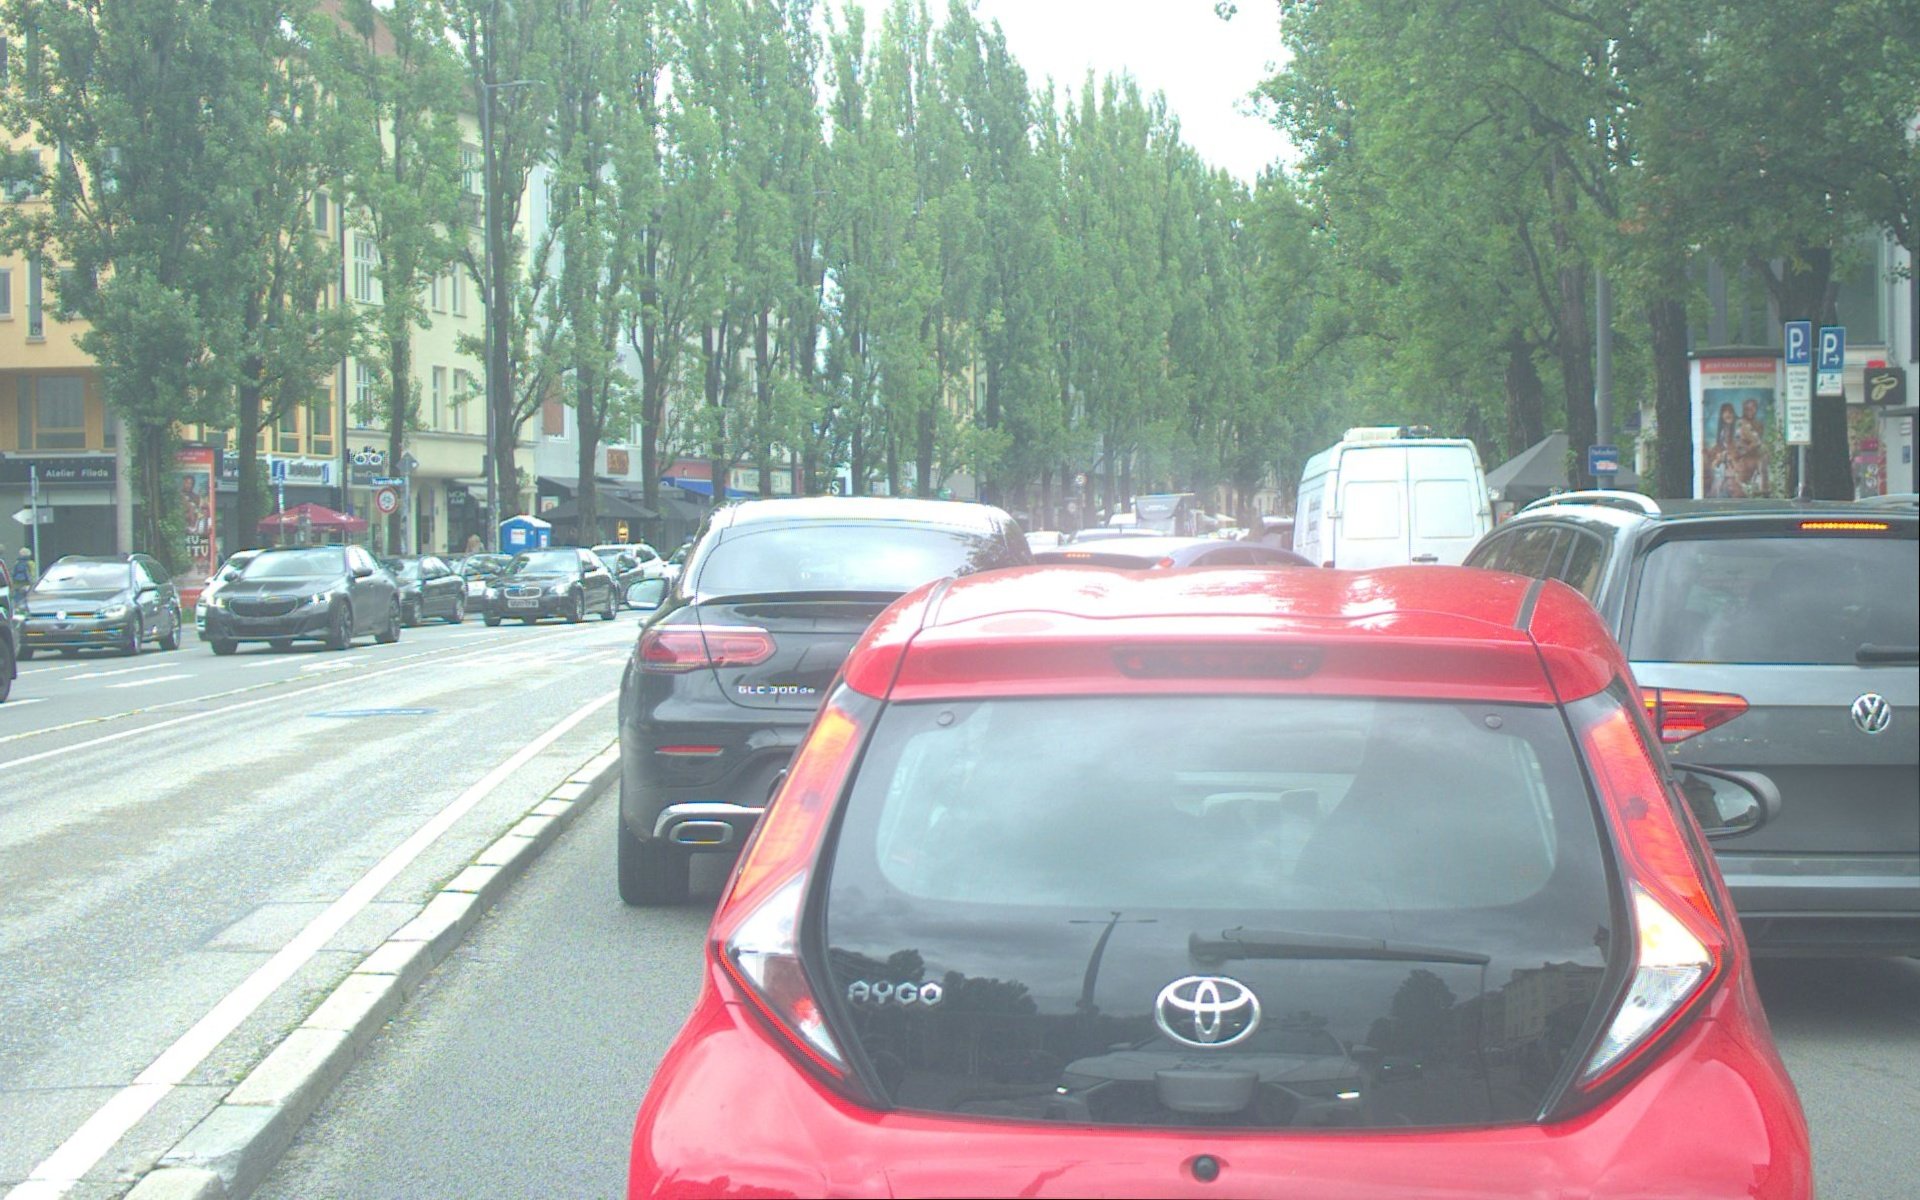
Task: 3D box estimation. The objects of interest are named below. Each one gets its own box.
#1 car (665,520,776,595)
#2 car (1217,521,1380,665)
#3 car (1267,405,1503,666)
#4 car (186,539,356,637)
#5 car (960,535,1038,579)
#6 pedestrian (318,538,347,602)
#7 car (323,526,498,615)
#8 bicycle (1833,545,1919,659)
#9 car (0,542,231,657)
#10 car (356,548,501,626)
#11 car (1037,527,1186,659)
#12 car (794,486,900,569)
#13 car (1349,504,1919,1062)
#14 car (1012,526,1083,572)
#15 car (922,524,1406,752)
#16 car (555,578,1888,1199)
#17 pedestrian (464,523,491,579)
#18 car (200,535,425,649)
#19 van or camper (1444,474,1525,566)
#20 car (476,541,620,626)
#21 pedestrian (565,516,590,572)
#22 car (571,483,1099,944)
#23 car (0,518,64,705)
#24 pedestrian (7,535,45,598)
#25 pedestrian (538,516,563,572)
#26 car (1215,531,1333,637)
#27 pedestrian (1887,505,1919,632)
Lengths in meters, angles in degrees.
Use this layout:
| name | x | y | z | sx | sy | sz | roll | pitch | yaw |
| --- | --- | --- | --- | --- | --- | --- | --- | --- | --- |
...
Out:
| name | x | y | z | sx | sy | sz | roll | pitch | yaw |
| --- | --- | --- | --- | --- | --- | --- | --- | --- | --- |
| car | -5.512 | -1.006 | 79.724 | 1.994 | 1.615 | 4.413 | -2 | 1 | 3 |
| car | 4.453 | -0.132 | 45.830 | 1.929 | 1.799 | 4.779 | 1 | 1 | 3 |
| car | 4.737 | -0.708 | 39.097 | 1.993 | 2.732 | 5.555 | 1 | 1 | 0 |
| car | -11.963 | -0.240 | 59.943 | 1.993 | 1.594 | 4.289 | -1 | 1 | 1 |
| car | 1.342 | -1.470 | 115.789 | 1.800 | 1.389 | 4.688 | -1 | 1 | 11 |
| pedestrian | -17.254 | -0.826 | 94.541 | 0.539 | 1.741 | 0.755 | 0 | 1 | 11 |
| car | -11.562 | -0.624 | 72.605 | 1.758 | 1.809 | 3.995 | 1 | 1 | 23 |
| bicycle | 9.834 | 0.015 | 35.337 | 1.629 | 1.156 | 0.705 | 0 | 1 | 12 |
| car | -12.338 | -0.045 | 50.329 | 1.959 | 1.541 | 4.947 | -1 | 1 | 4 |
| car | -10.411 | -0.279 | 67.608 | 1.729 | 1.404 | 4.687 | -1 | 1 | 5 |
| car | 1.909 | -0.105 | 44.240 | 1.759 | 1.614 | 3.747 | 1 | 1 | 1 |
| car | -3.633 | -2.364 | 111.945 | 2.171 | 2.596 | 6.062 | -1 | 1 | 10 |
| car | 2.532 | 0.490 | 12.017 | 1.761 | 1.608 | 4.184 | 0 | 1 | -1 |
| car | 3.187 | -1.873 | 124.472 | 1.910 | 1.597 | 4.353 | -1 | 1 | 10 |
| car | 1.468 | 0.234 | 23.824 | 1.548 | 1.455 | 3.425 | 1 | 1 | 42 |
| car | 0.487 | 0.696 | 6.122 | 1.665 | 1.441 | 3.595 | 1 | 1 | 6 |
| pedestrian | -14.919 | -1.516 | 106.347 | 0.638 | 1.694 | 0.647 | -1 | 1 | 11 |
| car | -9.234 | -0.154 | 49.436 | 1.994 | 1.502 | 5.021 | -1 | 1 | 3 |
| van or camper | 18.322 | -2.789 | 119.922 | 2.461 | 3.101 | 4.713 | -1 | 1 | 12 |
| car | -7.798 | -0.341 | 65.504 | 1.836 | 1.482 | 4.734 | -1 | 1 | 4 |
| pedestrian | -12.881 | -1.883 | 115.844 | 0.638 | 1.855 | 0.647 | -1 | 1 | 11 |
| car | -0.478 | 0.364 | 14.723 | 1.880 | 1.636 | 4.583 | -1 | 1 | -1 |
| car | -10.151 | 0.135 | 32.129 | 1.994 | 1.771 | 4.598 | -1 | 1 | 5 |
| pedestrian | -21.171 | -0.763 | 77.926 | 0.632 | 1.430 | 0.778 | -1 | 1 | -2 |
| pedestrian | -13.810 | -1.891 | 115.868 | 0.638 | 1.855 | 0.647 | -1 | 1 | 11 |
| car | 5.186 | -0.297 | 57.240 | 1.727 | 1.680 | 4.408 | 0 | 1 | 2 |
| pedestrian | 13.136 | -0.438 | 46.871 | 0.721 | 1.718 | 0.738 | -1 | 1 | 36 |
